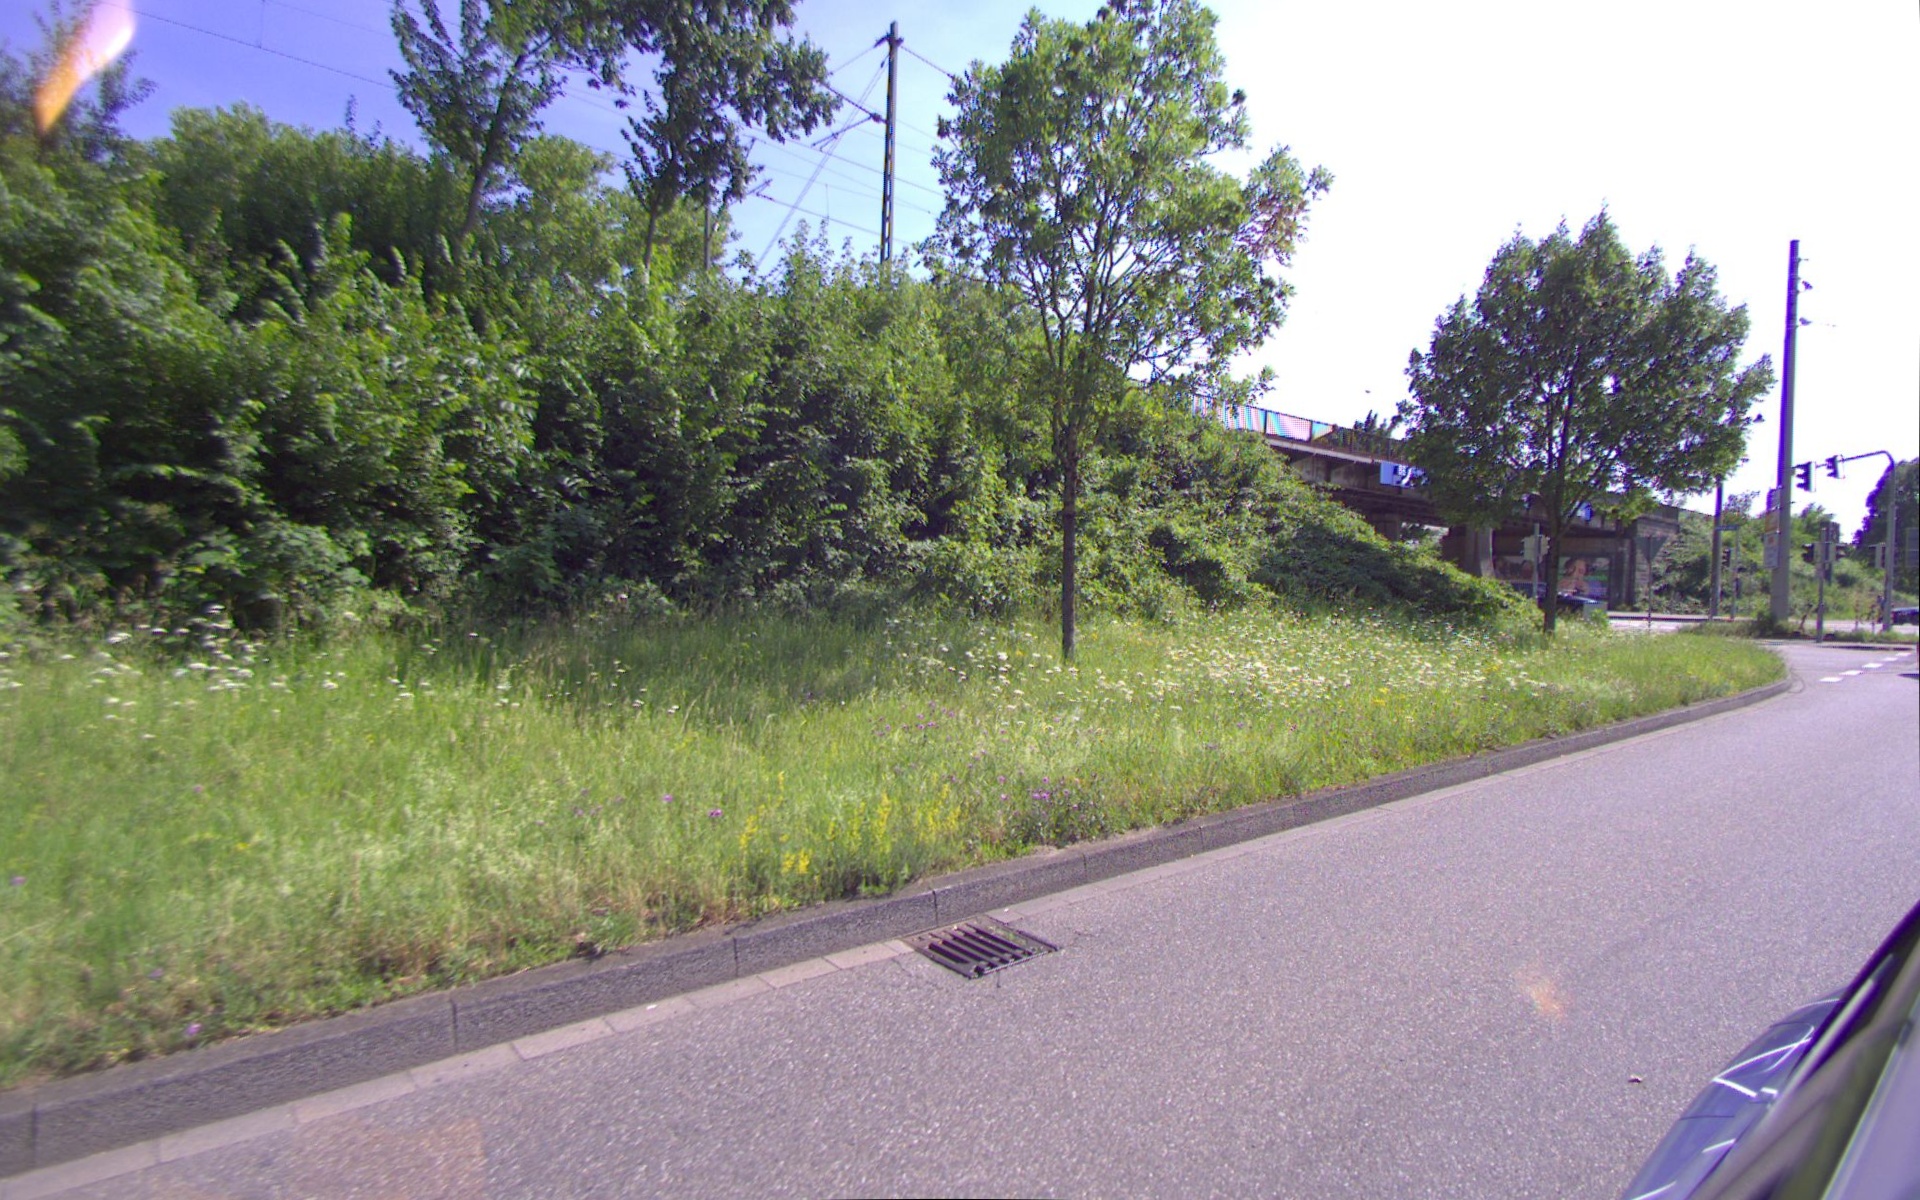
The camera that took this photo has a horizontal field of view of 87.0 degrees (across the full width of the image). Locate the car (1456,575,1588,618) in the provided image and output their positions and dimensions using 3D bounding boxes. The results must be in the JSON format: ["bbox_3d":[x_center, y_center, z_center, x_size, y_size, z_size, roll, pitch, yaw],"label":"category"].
[{"bbox_3d":[23.637,-0.178,42.731,4.377,1.616,1.993,2,1,12],"label":"car"}]

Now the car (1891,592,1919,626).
[{"bbox_3d":[50.070,0.518,51.184,3.950,1.634,1.807,2,-1,20],"label":"car"}]
